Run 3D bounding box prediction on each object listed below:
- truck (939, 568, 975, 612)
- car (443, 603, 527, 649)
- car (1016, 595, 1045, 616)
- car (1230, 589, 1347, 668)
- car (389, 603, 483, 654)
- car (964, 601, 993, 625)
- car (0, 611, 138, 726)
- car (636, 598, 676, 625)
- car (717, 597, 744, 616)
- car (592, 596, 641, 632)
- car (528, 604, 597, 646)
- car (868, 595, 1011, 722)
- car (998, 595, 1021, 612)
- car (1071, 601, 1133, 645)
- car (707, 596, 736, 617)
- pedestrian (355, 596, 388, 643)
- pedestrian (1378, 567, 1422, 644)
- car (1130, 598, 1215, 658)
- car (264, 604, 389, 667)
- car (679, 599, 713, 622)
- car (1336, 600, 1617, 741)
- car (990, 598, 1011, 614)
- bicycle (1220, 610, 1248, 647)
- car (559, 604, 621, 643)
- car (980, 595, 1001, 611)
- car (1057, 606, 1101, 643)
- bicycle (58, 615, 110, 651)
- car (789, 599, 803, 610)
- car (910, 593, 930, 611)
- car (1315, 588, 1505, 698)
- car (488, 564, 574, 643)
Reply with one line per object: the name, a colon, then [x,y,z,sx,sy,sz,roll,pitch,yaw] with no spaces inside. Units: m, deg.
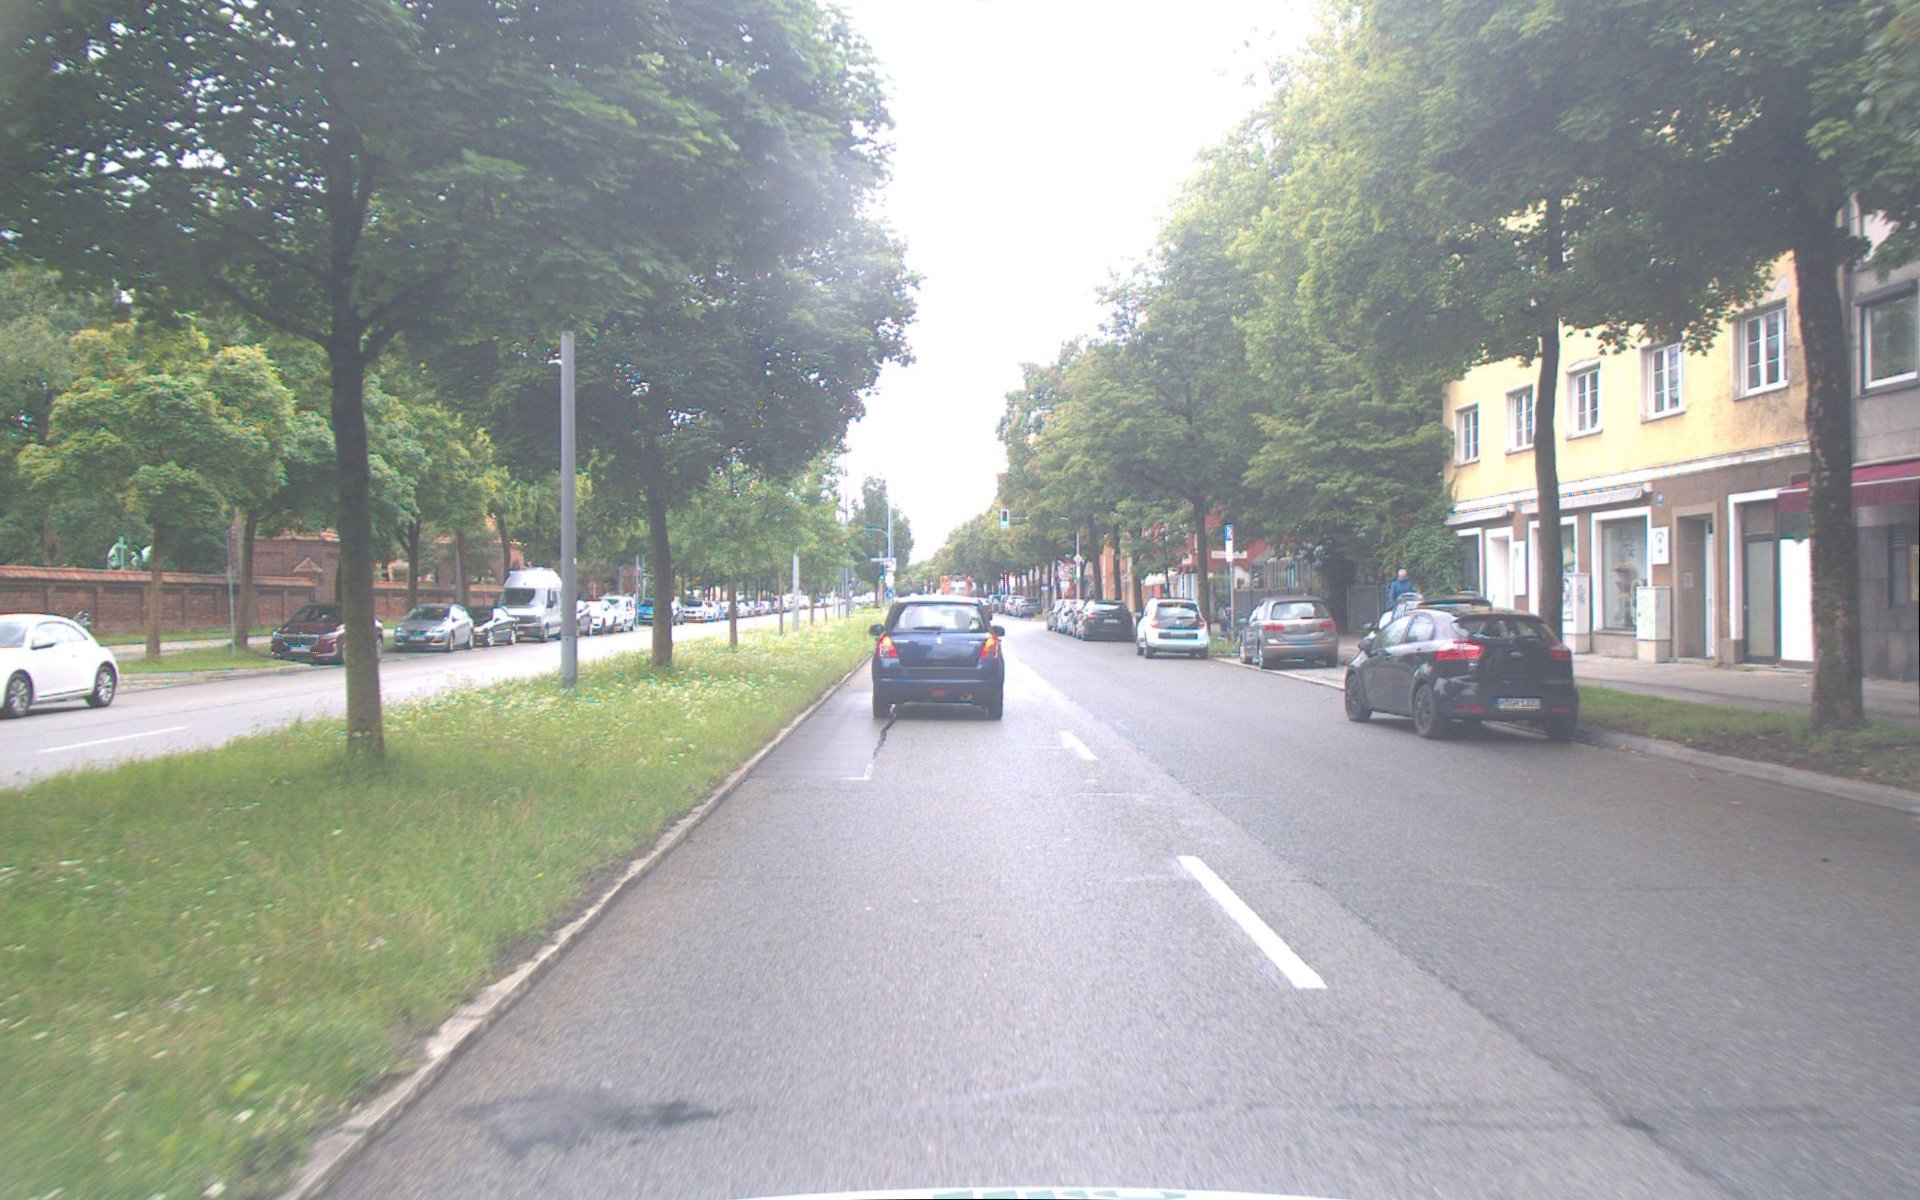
truck: [-0.276,-0.872,144.170,2.979,3.619,13.673,0,0,0]
car: [-17.084,0.920,59.661,1.777,1.563,4.818,0,0,-2]
car: [5.421,0.422,126.812,1.953,1.557,3.999,-1,0,-1]
car: [7.490,0.607,38.091,1.778,1.654,4.307,-2,0,0]
car: [-16.944,0.898,53.693,1.777,1.563,4.439,0,0,-2]
car: [1.220,0.836,110.116,1.784,1.503,4.689,2,0,-1]
car: [-14.308,1.013,24.886,1.725,1.564,4.313,-3,0,-1]
car: [-17.964,0.645,97.876,1.672,1.561,3.999,-1,0,-1]
car: [-19.222,0.556,138.398,1.765,1.561,3.999,-1,0,-1]
car: [-17.401,0.679,83.909,1.672,1.764,3.999,-1,0,-1]
car: [-17.413,1.060,72.616,2.142,1.767,4.575,0,0,-4]
car: [-0.254,0.700,21.964,1.717,1.531,4.000,0,0,0]
car: [4.677,0.310,155.622,1.953,1.557,3.999,-1,0,-1]
car: [5.128,0.809,60.322,1.620,1.477,4.706,-1,0,-2]
car: [-18.900,0.515,131.111,1.765,1.561,3.999,1,-1,-1]
pedestrian: [-20.239,0.655,56.899,0.761,1.594,0.792,0,0,35]
pedestrian: [11.001,0.135,41.366,0.776,1.888,0.776,-2,0,-4]
car: [5.603,0.714,44.084,1.620,1.477,3.999,-1,0,-2]
car: [-16.724,0.899,43.869,1.777,1.563,4.296,0,0,-2]
car: [-18.319,0.729,115.012,1.765,1.561,3.999,-1,0,-1]
car: [5.992,0.753,19.719,1.954,1.477,3.998,0,0,-3]
car: [4.086,0.574,168.049,1.953,1.557,3.999,-1,0,-1]
bicycle: [7.436,0.762,44.931,0.439,0.997,1.798,0,0,-1]
car: [-17.476,1.084,78.219,2.142,1.767,4.575,0,0,-4]
car: [3.174,0.329,172.923,1.953,1.557,3.999,1,0,-1]
car: [5.082,1.023,70.996,1.660,1.477,4.123,-1,0,1]
bicycle: [-24.000,0.885,45.331,0.642,0.953,1.618,0,0,-4]
car: [-24.302,0.655,245.338,1.765,1.561,3.999,-1,0,-1]
car: [-3.371,0.143,140.565,1.684,1.527,4.299,0,0,-1]
car: [7.391,0.648,27.628,1.953,1.671,4.332,0,0,-1]
car: [-17.039,0.129,66.067,2.142,3.005,6.187,0,0,-4]
